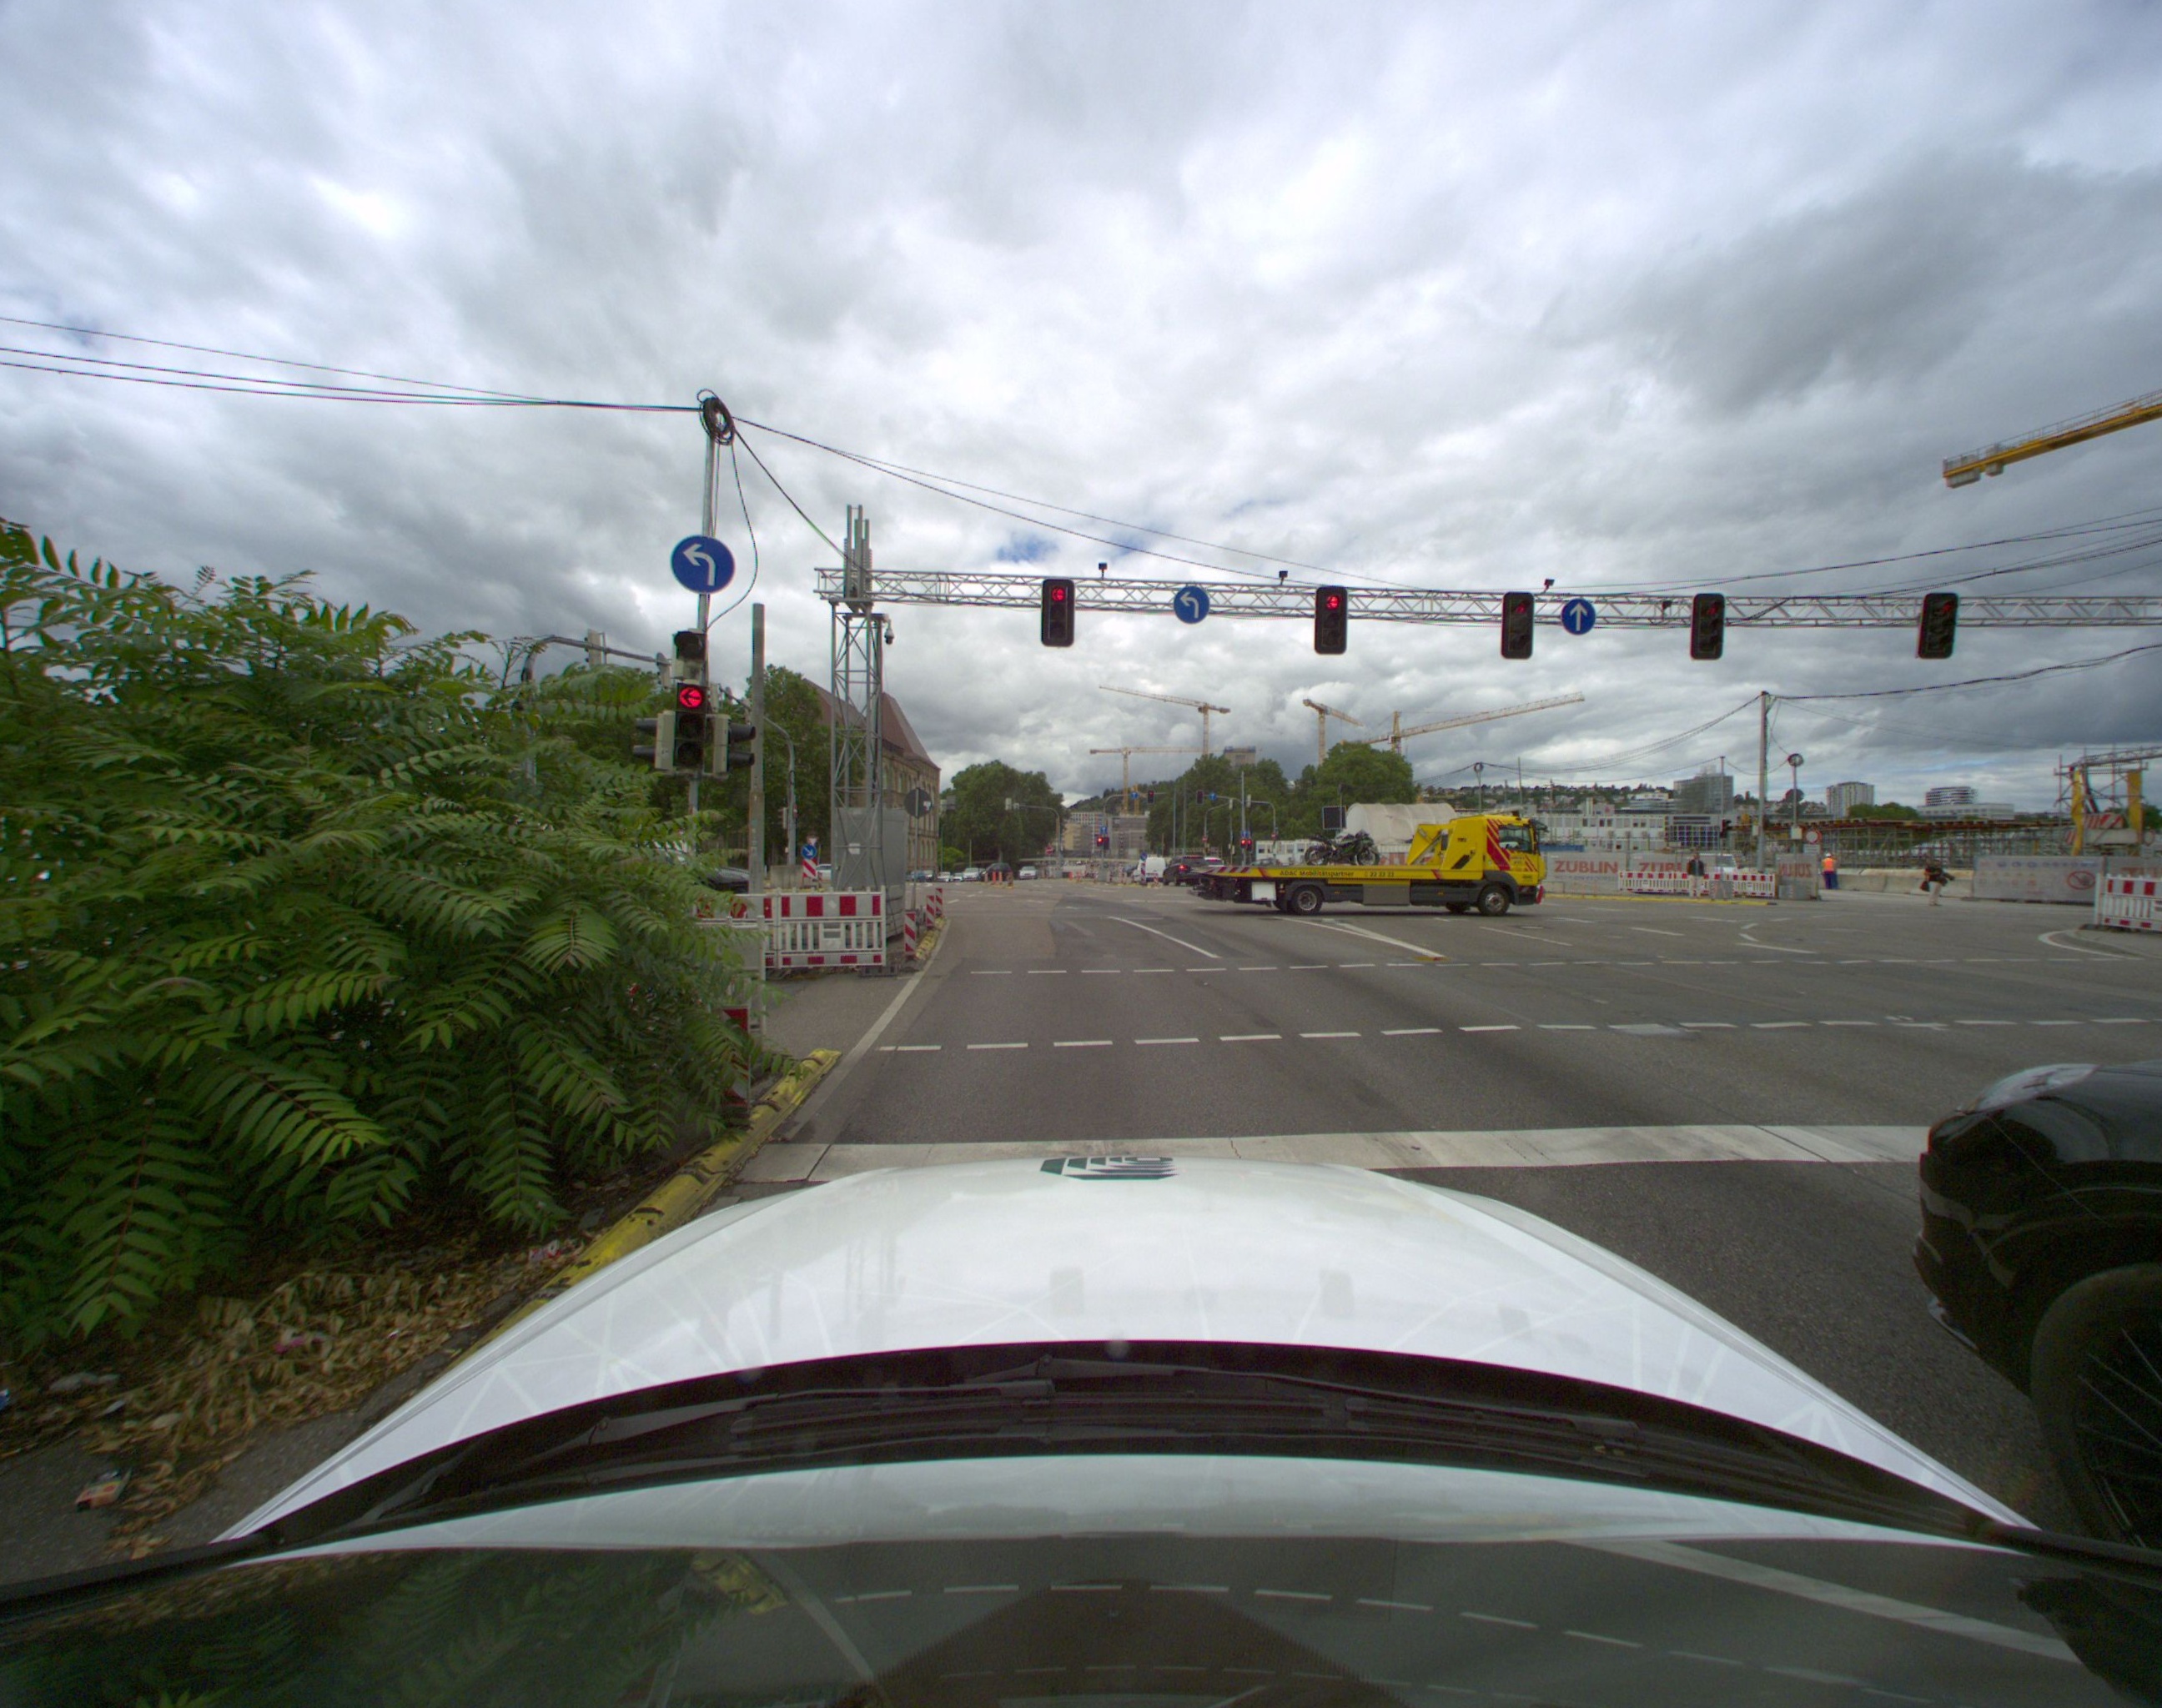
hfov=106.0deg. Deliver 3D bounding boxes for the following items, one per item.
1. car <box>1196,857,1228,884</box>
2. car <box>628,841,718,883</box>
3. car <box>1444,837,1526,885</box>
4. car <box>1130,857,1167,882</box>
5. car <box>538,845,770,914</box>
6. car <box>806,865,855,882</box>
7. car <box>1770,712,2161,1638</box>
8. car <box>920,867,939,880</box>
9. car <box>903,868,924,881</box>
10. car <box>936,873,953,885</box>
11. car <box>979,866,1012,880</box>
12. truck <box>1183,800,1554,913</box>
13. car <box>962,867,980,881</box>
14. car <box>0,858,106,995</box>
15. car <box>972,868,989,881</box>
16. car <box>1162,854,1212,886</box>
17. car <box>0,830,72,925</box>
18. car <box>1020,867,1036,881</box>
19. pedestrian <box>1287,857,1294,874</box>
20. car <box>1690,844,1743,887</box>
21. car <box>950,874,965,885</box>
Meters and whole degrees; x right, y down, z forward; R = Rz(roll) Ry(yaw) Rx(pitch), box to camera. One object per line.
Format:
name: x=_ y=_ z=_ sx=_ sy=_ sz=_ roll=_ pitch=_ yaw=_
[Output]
car: x=8.485 y=1.051 z=53.008 sx=1.670 sy=1.702 sz=3.375 roll=0 pitch=-1 yaw=2
car: x=-28.602 y=0.517 z=57.240 sx=5.330 sy=2.856 sz=1.821 roll=0 pitch=-1 yaw=-14
car: x=23.236 y=0.416 z=46.981 sx=3.957 sy=2.662 sz=1.688 roll=-1 pitch=-1 yaw=15
car: x=4.573 y=1.014 z=55.586 sx=1.814 sy=1.625 sz=3.992 roll=0 pitch=-1 yaw=-5
car: x=-10.709 y=0.616 z=20.795 sx=4.806 sy=1.625 sz=2.014 roll=0 pitch=-1 yaw=-9
car: x=-19.552 y=1.476 z=63.550 sx=3.618 sy=1.254 sz=1.670 roll=0 pitch=-1 yaw=-20
car: x=2.863 y=0.579 z=0.121 sx=1.817 sy=1.715 sz=4.486 roll=0 pitch=-1 yaw=2
car: x=-17.394 y=2.221 z=93.517 sx=1.673 sy=1.398 sz=3.677 roll=0 pitch=-1 yaw=-4
car: x=-17.899 y=2.171 z=87.096 sx=1.673 sy=1.398 sz=3.677 roll=0 pitch=-1 yaw=-4
car: x=-17.226 y=3.140 z=102.931 sx=1.673 sy=1.398 sz=3.677 roll=0 pitch=-1 yaw=-4
car: x=-7.159 y=1.549 z=67.876 sx=2.689 sy=1.142 sz=1.353 roll=0 pitch=-1 yaw=-10
truck: x=7.346 y=0.067 z=21.595 sx=8.954 sy=2.803 sz=2.626 roll=0 pitch=0 yaw=-1
car: x=-11.612 y=2.116 z=86.084 sx=1.673 sy=1.398 sz=3.677 roll=0 pitch=-1 yaw=-4
car: x=-12.449 y=0.771 z=8.433 sx=1.651 sy=1.478 sz=3.544 roll=2 pitch=-2 yaw=-26
car: x=-11.359 y=2.266 z=92.242 sx=1.673 sy=1.398 sz=3.677 roll=0 pitch=-1 yaw=-4
car: x=6.108 y=0.925 z=47.237 sx=1.830 sy=1.746 sz=4.244 roll=0 pitch=-1 yaw=-8
car: x=-21.190 y=0.432 z=14.590 sx=4.232 sy=1.691 sz=1.879 roll=0 pitch=-1 yaw=6
car: x=-5.578 y=2.066 z=85.341 sx=1.673 sy=1.398 sz=3.677 roll=0 pitch=-1 yaw=-4
pedestrian: x=21.543 y=1.170 z=83.631 sx=0.528 sy=1.748 sz=0.465 roll=0 pitch=0 yaw=-22
car: x=30.138 y=0.553 z=38.707 sx=1.755 sy=1.954 sz=3.146 roll=-1 pitch=-1 yaw=34
car: x=-17.367 y=3.540 z=114.635 sx=1.673 sy=1.398 sz=3.677 roll=0 pitch=-1 yaw=-4
